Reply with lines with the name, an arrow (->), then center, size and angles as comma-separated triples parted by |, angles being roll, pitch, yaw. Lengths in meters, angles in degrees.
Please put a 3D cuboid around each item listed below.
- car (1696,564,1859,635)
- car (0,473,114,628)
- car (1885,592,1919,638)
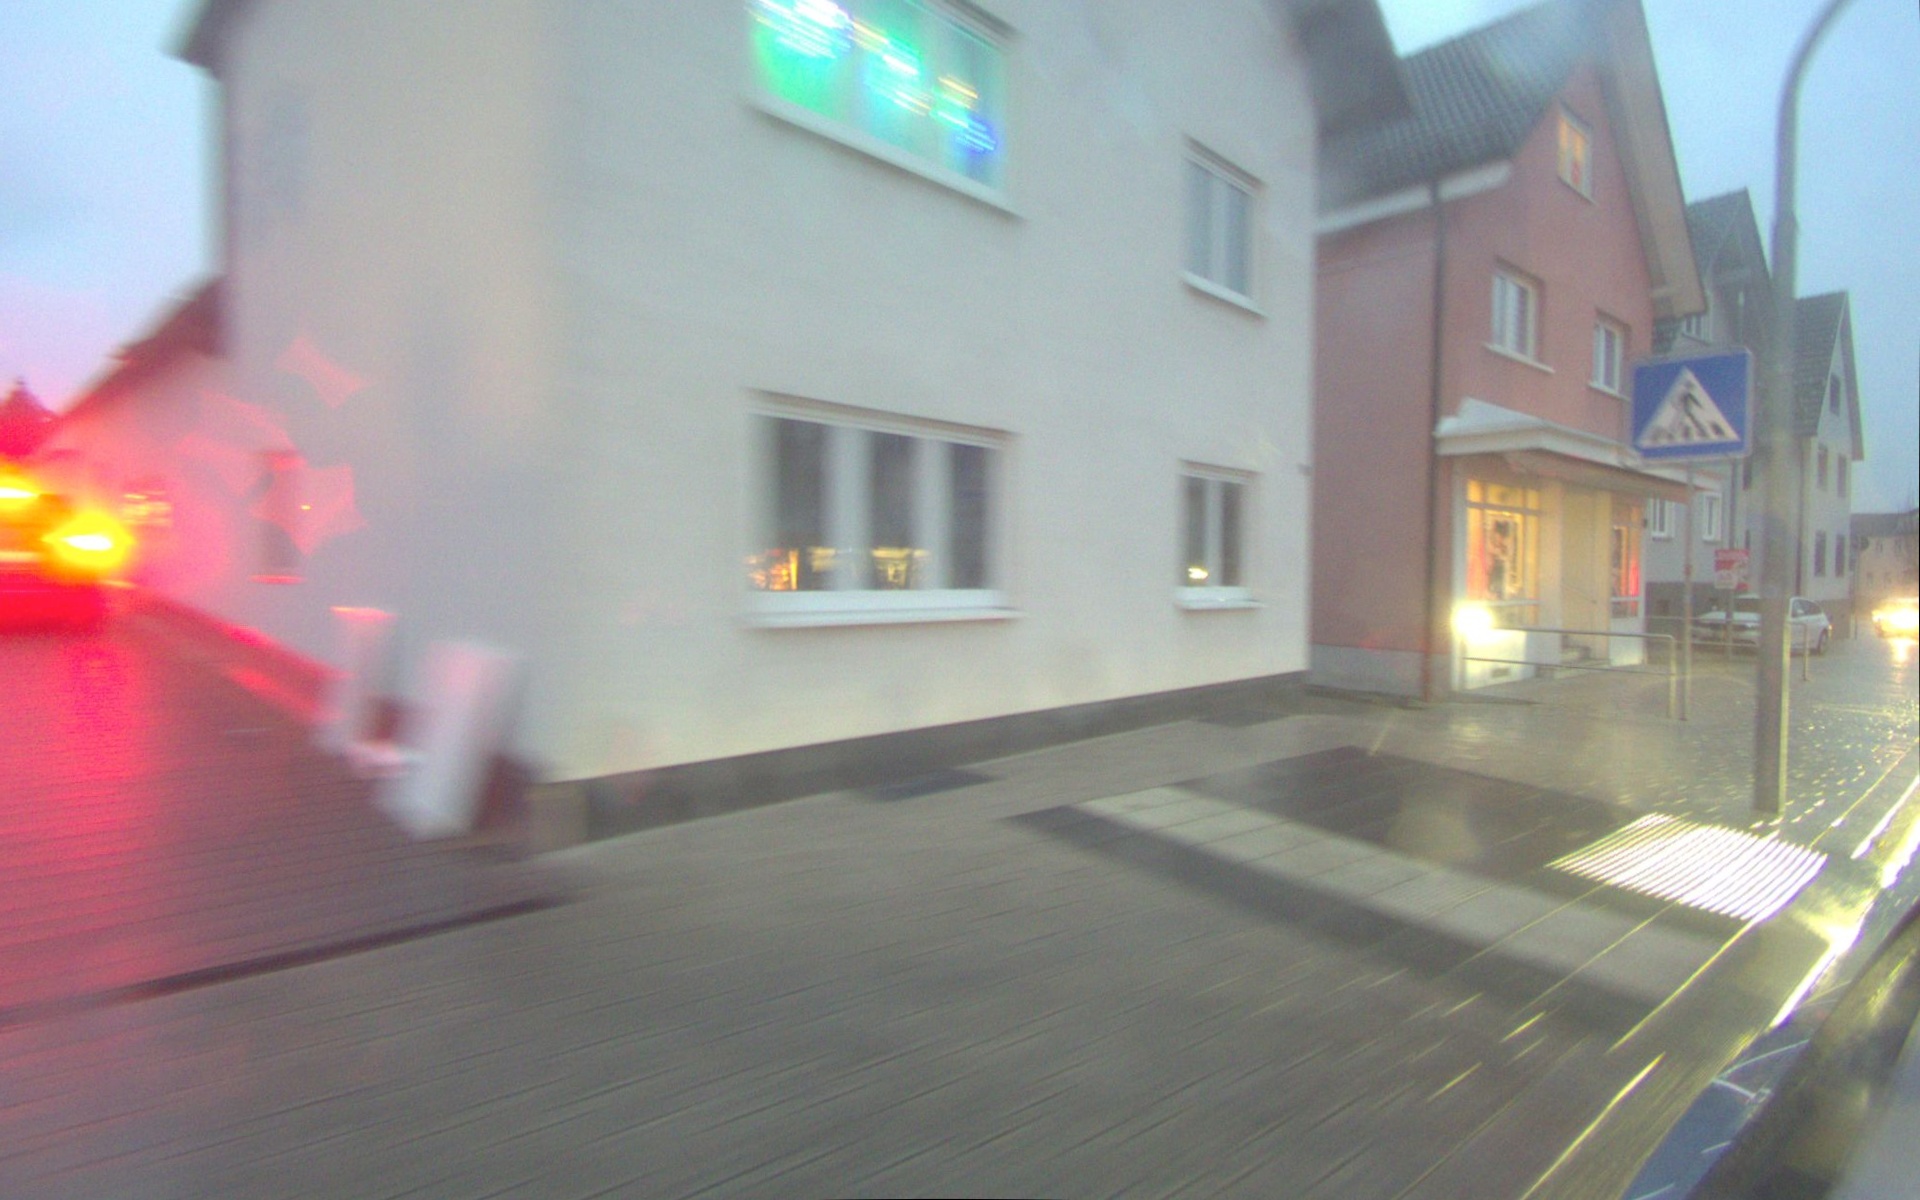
car -> 20.117, -0.059, 24.850 | 4.609, 1.503, 1.936 | -3, 1, -35
car -> -12.003, -0.670, 12.435 | 3.988, 1.694, 1.970 | 5, 6, 43
car -> 40.495, 0.599, 42.189 | 1.982, 1.878, 3.959 | 0, 0, 29
